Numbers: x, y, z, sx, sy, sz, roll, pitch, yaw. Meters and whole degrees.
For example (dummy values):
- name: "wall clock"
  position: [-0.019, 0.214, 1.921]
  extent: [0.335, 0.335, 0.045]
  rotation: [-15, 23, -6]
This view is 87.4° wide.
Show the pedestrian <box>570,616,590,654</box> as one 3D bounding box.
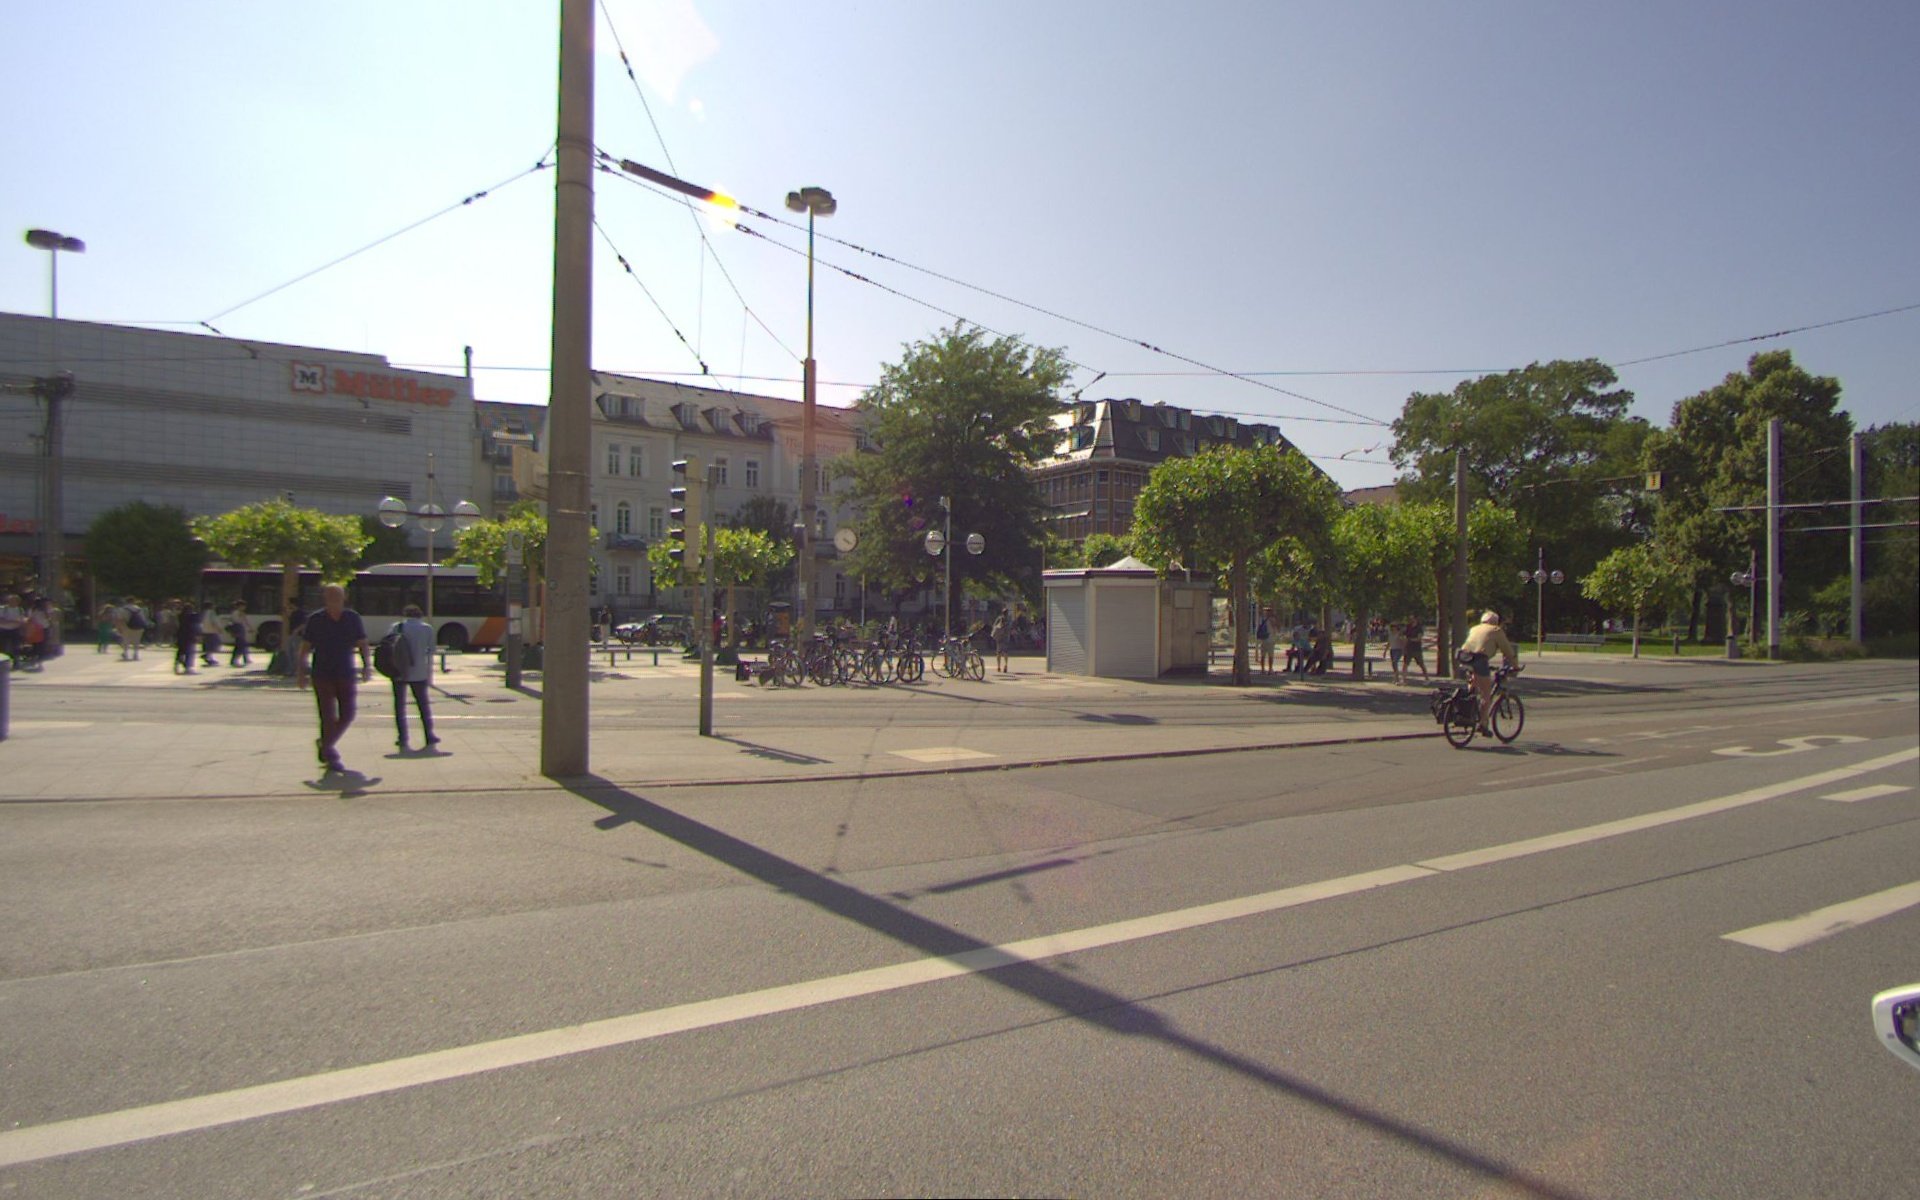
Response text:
- name: "pedestrian"
  position: [-15.054, 1.371, 39.797]
  extent: [0.672, 1.484, 0.621]
  rotation: [0, -2, -27]

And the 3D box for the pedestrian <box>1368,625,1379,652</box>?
- name: "pedestrian"
  position: [26.033, 2.423, 63.213]
  extent: [0.491, 1.630, 0.410]
  rotation: [0, -3, -39]

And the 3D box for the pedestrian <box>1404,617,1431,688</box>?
- name: "pedestrian"
  position: [11.532, 1.312, 25.302]
  extent: [0.517, 1.756, 0.587]
  rotation: [-2, -2, 30]

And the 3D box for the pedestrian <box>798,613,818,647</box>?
- name: "pedestrian"
  position: [-6.627, 1.313, 43.771]
  extent: [0.671, 1.484, 0.621]
  rotation: [0, -2, -26]

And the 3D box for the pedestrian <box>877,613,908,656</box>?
- name: "pedestrian"
  position: [-2.863, 1.466, 42.559]
  extent: [1.064, 1.817, 0.964]
  rotation: [0, -2, -21]

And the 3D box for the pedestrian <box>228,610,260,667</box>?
- name: "pedestrian"
  position: [-18.812, 1.007, 26.401]
  extent: [0.518, 1.484, 0.586]
  rotation: [-3, -3, 40]

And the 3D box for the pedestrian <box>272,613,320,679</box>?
- name: "pedestrian"
  position: [-14.862, 1.030, 22.481]
  extent: [0.667, 1.437, 0.625]
  rotation: [-2, -2, 22]

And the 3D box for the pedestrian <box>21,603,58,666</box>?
- name: "pedestrian"
  position: [-22.213, 0.838, 24.235]
  extent: [0.615, 1.484, 0.551]
  rotation: [-3, -3, 38]

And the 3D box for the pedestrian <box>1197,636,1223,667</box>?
- name: "pedestrian"
  position: [8.409, 1.724, 33.806]
  extent: [0.573, 1.014, 0.632]
  rotation: [0, -2, -27]

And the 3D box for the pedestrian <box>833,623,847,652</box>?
- name: "pedestrian"
  position: [-5.332, 1.674, 44.558]
  extent: [0.447, 1.279, 0.515]
  rotation: [0, -2, -25]

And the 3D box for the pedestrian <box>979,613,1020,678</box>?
- name: "pedestrian"
  position: [1.095, 1.252, 27.737]
  extent: [0.742, 1.751, 0.834]
  rotation: [-3, -3, 43]

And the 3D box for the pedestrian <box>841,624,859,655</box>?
- name: "pedestrian"
  position: [-4.654, 1.672, 42.416]
  extent: [0.573, 1.279, 0.620]
  rotation: [0, -2, -21]

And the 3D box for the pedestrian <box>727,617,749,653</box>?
- name: "pedestrian"
  position: [-9.253, 1.448, 41.883]
  extent: [0.674, 1.484, 0.619]
  rotation: [0, -2, -35]

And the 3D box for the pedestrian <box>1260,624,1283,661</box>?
- name: "pedestrian"
  position: [14.794, 2.002, 47.744]
  extent: [0.697, 1.728, 0.673]
  rotation: [0, -4, -31]

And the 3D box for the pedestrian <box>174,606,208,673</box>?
- name: "pedestrian"
  position: [-18.185, 0.934, 23.771]
  extent: [0.523, 1.573, 0.597]
  rotation: [0, -2, -27]

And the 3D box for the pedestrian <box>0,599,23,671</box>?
- name: "pedestrian"
  position: [-22.650, 0.830, 23.849]
  extent: [0.465, 1.687, 0.520]
  rotation: [-3, -3, 38]

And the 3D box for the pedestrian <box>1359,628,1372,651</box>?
- name: "pedestrian"
  position: [26.646, 2.611, 66.042]
  extent: [0.655, 1.512, 0.521]
  rotation: [0, -3, -38]

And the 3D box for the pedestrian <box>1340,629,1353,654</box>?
- name: "pedestrian"
  position: [25.621, 2.756, 66.590]
  extent: [0.615, 1.630, 0.488]
  rotation: [0, -3, -40]

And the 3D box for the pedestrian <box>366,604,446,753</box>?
- name: "pedestrian"
  position: [-6.557, 0.895, 11.888]
  extent: [0.675, 1.680, 0.885]
  rotation: [1, -1, -39]

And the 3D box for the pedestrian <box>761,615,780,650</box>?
- name: "pedestrian"
  position: [-8.171, 1.400, 43.344]
  extent: [0.671, 1.484, 0.621]
  rotation: [0, -2, -26]

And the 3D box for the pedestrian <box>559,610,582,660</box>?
- name: "pedestrian"
  position: [-11.885, 1.062, 30.613]
  extent: [0.616, 1.484, 0.677]
  rotation: [0, -2, -24]

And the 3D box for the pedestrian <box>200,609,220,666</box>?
- name: "pedestrian"
  position: [-19.704, 0.984, 26.388]
  extent: [0.412, 1.484, 0.402]
  rotation: [0, -3, -37]

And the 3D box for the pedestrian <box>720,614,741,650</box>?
- name: "pedestrian"
  position: [-9.734, 1.358, 42.642]
  extent: [0.674, 1.484, 0.619]
  rotation: [0, -3, -37]

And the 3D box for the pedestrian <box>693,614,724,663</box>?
- name: "pedestrian"
  position: [-7.762, 1.185, 30.969]
  extent: [0.667, 1.484, 0.625]
  rotation: [-2, -2, 22]

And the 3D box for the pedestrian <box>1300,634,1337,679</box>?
- name: "pedestrian"
  position: [10.311, 1.622, 28.919]
  extent: [0.745, 1.263, 0.670]
  rotation: [0, -3, -36]

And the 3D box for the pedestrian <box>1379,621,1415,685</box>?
- name: "pedestrian"
  position: [11.310, 1.360, 25.977]
  extent: [0.617, 1.630, 0.524]
  rotation: [-1, -2, -21]

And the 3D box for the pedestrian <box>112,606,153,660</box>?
- name: "pedestrian"
  position: [-23.220, 0.919, 28.193]
  extent: [0.613, 1.484, 0.680]
  rotation: [-2, -2, 26]

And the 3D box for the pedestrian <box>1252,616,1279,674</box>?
- name: "pedestrian"
  position: [8.750, 1.277, 28.761]
  extent: [0.566, 1.630, 0.602]
  rotation: [-2, -2, 31]

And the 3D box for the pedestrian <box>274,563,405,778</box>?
- name: "pedestrian"
  position: [-6.145, 0.687, 9.973]
  extent: [0.877, 2.034, 0.681]
  rotation: [-1, -2, 16]

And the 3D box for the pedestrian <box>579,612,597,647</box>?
- name: "pedestrian"
  position: [-16.009, 1.266, 43.225]
  extent: [0.672, 1.484, 0.621]
  rotation: [0, -2, -27]

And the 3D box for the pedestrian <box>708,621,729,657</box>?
- name: "pedestrian"
  position: [-9.982, 1.610, 41.537]
  extent: [0.673, 1.484, 0.619]
  rotation: [0, -2, -33]

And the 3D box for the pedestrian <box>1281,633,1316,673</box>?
- name: "pedestrian"
  position: [10.161, 1.591, 30.128]
  extent: [0.745, 1.186, 0.670]
  rotation: [0, -3, -36]
